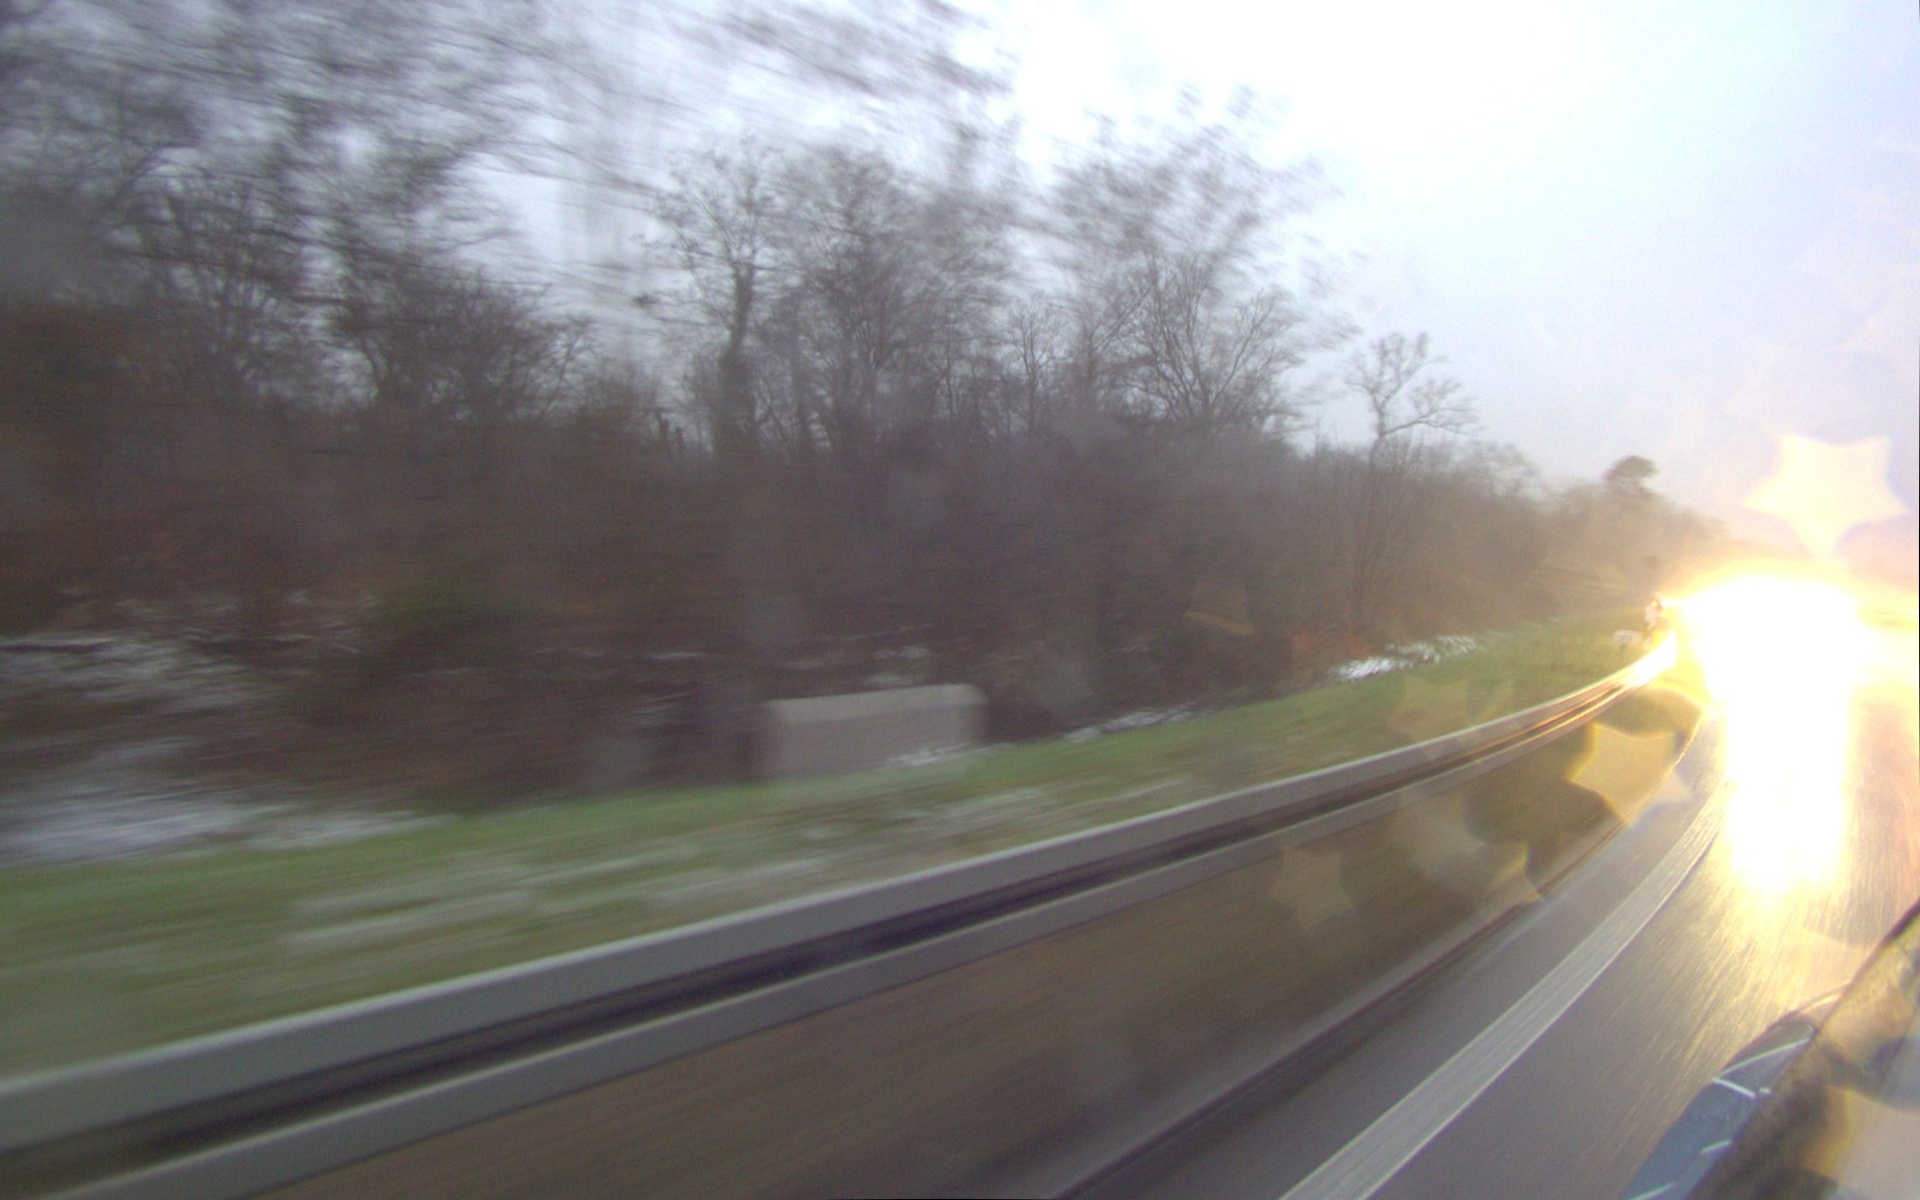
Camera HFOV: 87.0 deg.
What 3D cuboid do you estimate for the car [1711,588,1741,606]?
[{"bbox_3d":[56.017,-0.203,74.042,1.474,1.220,3.308,3,2,34],"label":"car"}]

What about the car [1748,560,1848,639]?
[{"bbox_3d":[24.440,-0.042,29.611,1.991,2.038,3.908,6,4,39],"label":"car"}]

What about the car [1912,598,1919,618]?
[{"bbox_3d":[105.647,0.900,110.433,1.989,2.038,3.948,3,4,37],"label":"car"}]
